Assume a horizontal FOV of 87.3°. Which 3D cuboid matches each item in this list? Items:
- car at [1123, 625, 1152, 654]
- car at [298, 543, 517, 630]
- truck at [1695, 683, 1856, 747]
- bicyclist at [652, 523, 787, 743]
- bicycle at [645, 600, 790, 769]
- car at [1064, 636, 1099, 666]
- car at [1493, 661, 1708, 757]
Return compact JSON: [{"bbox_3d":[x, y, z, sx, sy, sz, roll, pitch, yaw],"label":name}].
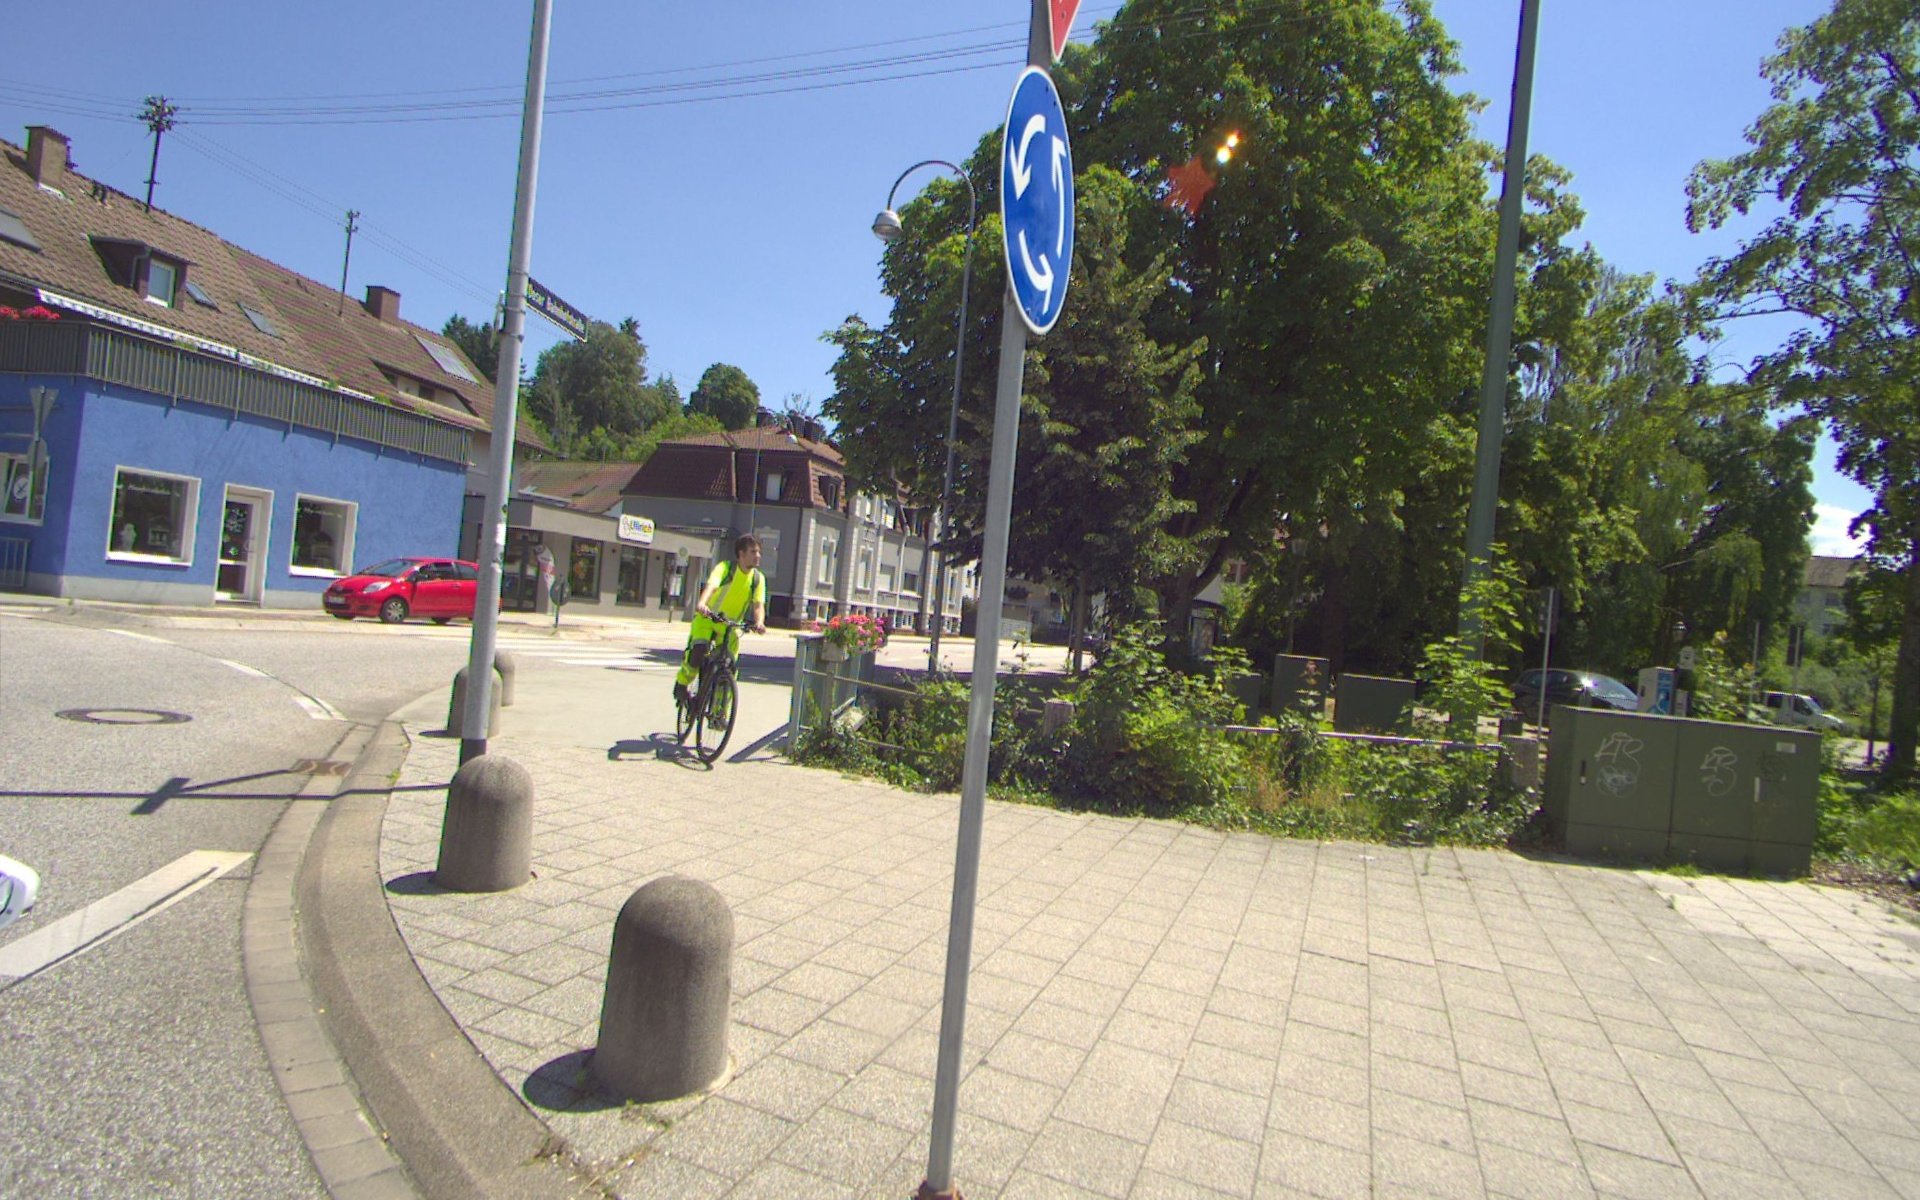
[{"bbox_3d":[15.412,3.453,87.263,1.962,2.036,4.006,7,-3,15],"label":"car"},{"bbox_3d":[-12.266,-0.233,22.621,1.801,1.551,3.999,4,-2,22],"label":"car"},{"bbox_3d":[43.070,6.050,53.325,2.248,2.471,6.154,9,-3,-38],"label":"truck"},{"bbox_3d":[-2.017,0.266,8.335,0.799,1.655,1.057,5,0,-23],"label":"bicyclist"},{"bbox_3d":[-2.062,0.641,8.338,0.799,1.170,1.843,5,0,-23],"label":"bicycle"},{"bbox_3d":[8.348,3.518,68.825,1.707,1.725,4.006,4,-3,16],"label":"car"},{"bbox_3d":[14.538,2.425,23.133,1.812,1.621,3.992,6,-1,-11],"label":"car"}]
